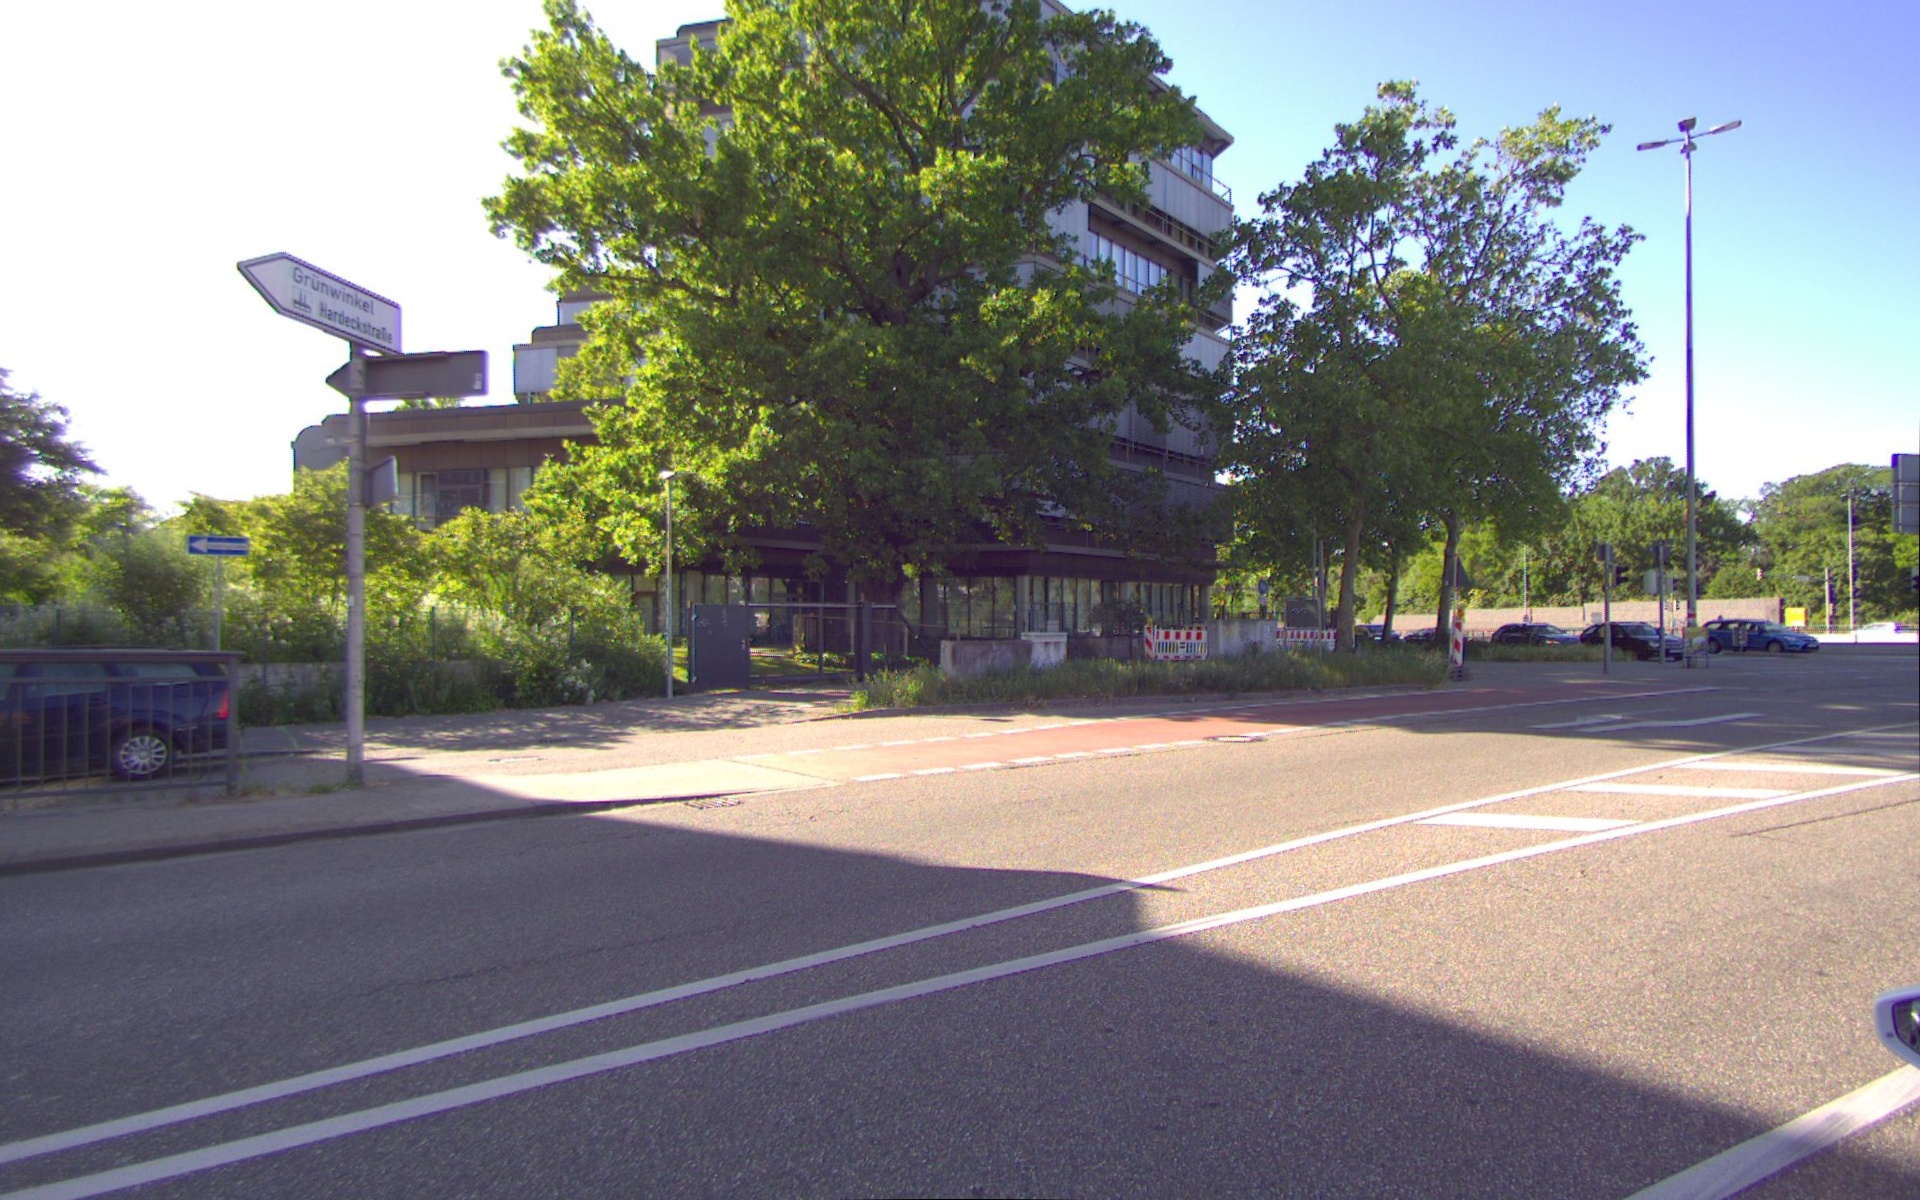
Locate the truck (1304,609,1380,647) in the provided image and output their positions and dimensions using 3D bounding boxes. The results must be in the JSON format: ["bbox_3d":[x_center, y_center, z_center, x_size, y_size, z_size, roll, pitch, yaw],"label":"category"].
[{"bbox_3d":[25.213,1.834,66.694,2.121,2.391,7.515,0,-1,-1],"label":"truck"}]

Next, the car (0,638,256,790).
[{"bbox_3d":[-10.647,1.292,11.349,4.339,1.528,1.642,-1,-3,-38],"label":"car"}]

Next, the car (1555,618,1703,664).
[{"bbox_3d":[25.831,1.533,38.995,1.918,1.643,4.773,0,-1,-13],"label":"car"}]

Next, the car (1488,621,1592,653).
[{"bbox_3d":[26.114,1.634,45.402,1.844,1.376,4.507,0,-1,-4],"label":"car"}]

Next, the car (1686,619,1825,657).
[{"bbox_3d":[34.352,1.614,43.516,1.919,1.561,4.443,0,-1,-16],"label":"car"}]
